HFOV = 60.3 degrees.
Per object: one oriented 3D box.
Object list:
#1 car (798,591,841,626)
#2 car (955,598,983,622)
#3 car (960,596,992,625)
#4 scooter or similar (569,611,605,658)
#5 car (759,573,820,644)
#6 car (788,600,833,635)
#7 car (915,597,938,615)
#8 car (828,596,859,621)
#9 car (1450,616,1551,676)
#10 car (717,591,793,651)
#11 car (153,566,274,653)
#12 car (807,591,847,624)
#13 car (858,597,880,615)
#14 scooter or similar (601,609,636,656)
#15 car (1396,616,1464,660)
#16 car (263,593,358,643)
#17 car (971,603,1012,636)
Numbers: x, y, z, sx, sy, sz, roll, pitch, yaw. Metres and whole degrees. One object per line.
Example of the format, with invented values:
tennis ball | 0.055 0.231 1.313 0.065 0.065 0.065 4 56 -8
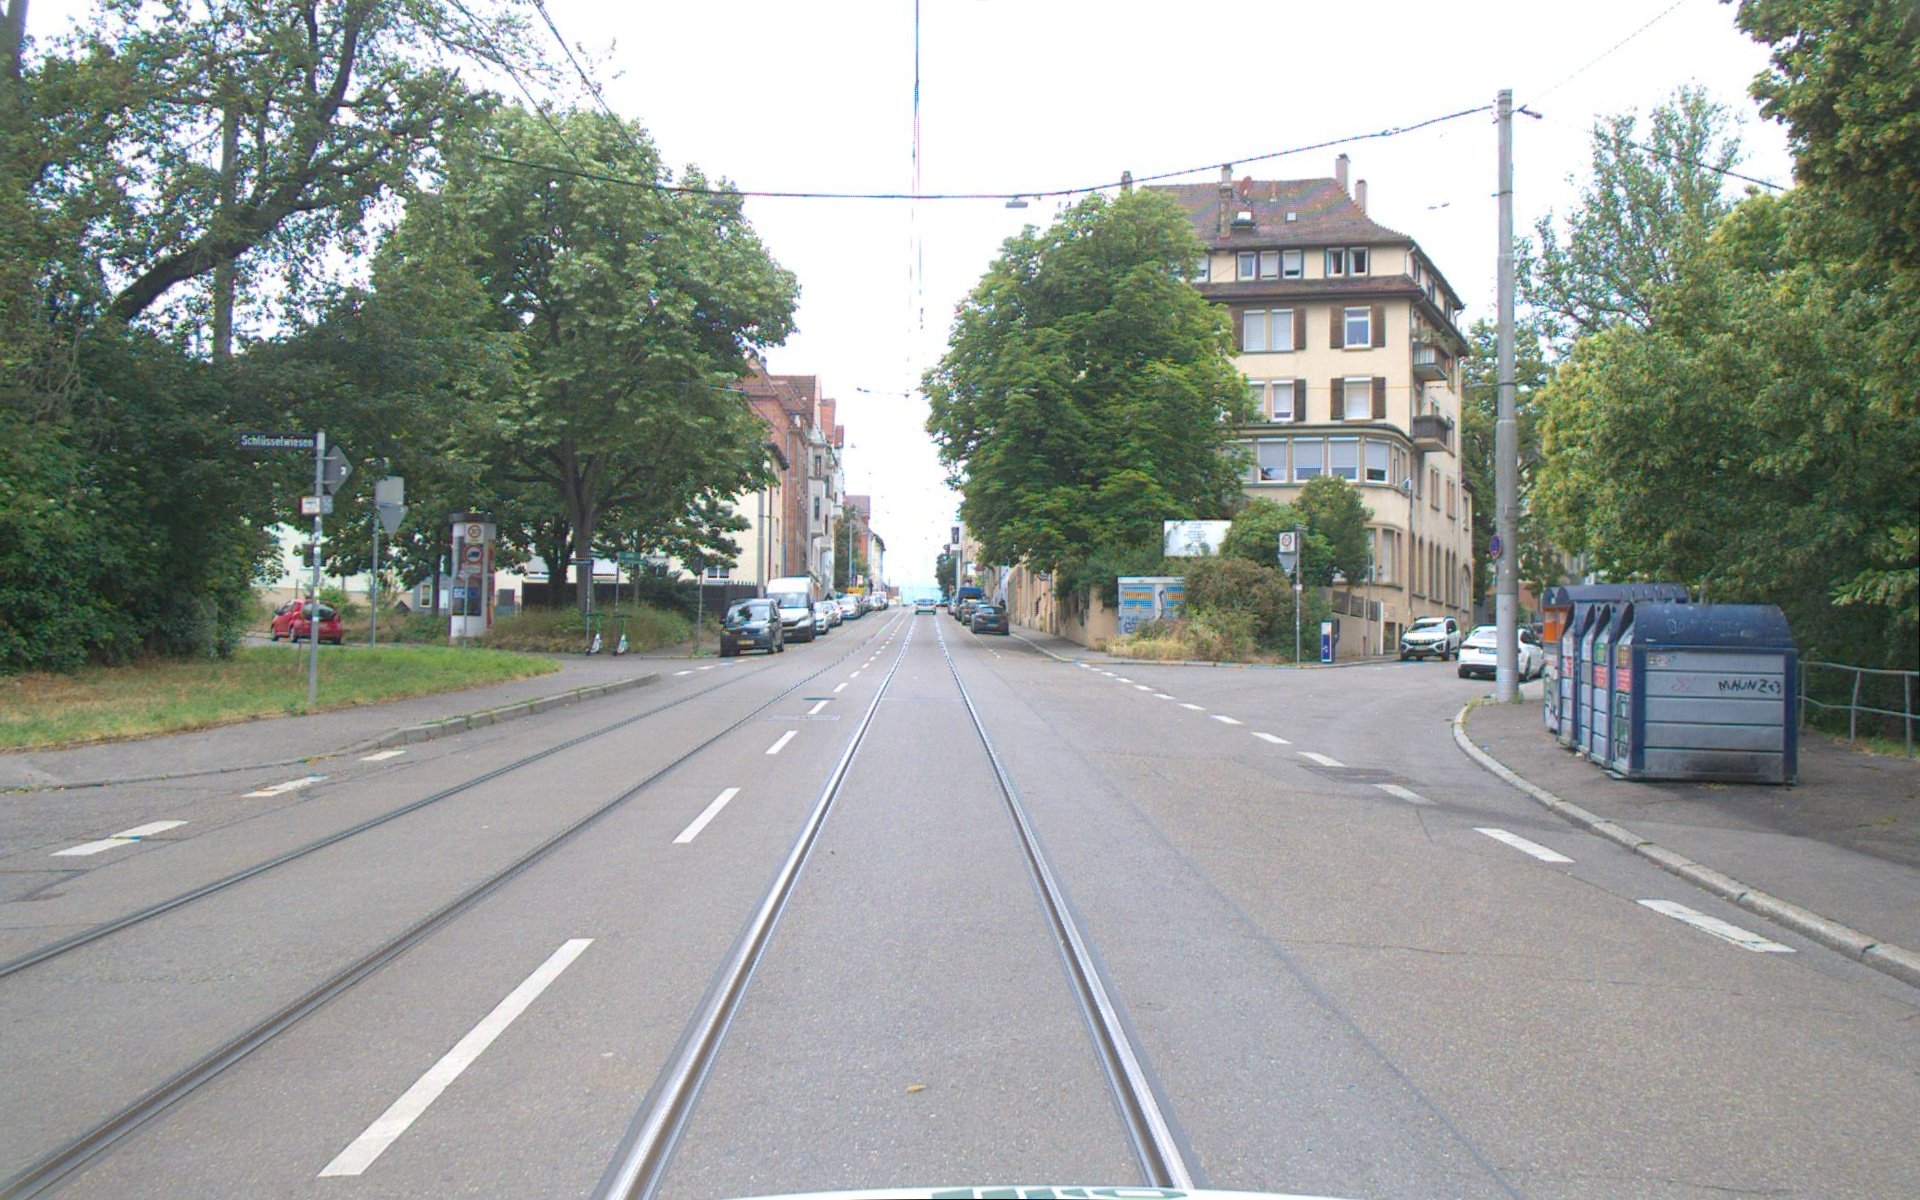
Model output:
car | -7.672 0.500 90.742 1.953 1.843 4.312 1 -1 0
car | 0.613 0.712 116.973 1.953 1.680 3.999 0 -1 -1
car | 1.012 0.682 104.939 1.953 1.747 3.999 0 -1 -1
scooter or similar | -11.139 1.015 49.415 0.677 1.362 1.638 1 -1 0
car | -7.079 0.365 69.078 2.186 2.813 5.795 1 -1 -3
car | -7.140 0.843 79.388 1.954 1.628 4.309 1 -1 -3
car | -2.949 0.537 144.455 1.953 1.525 4.310 1 -1 -2
car | -7.918 0.600 112.894 1.885 1.629 3.999 1 -1 -1
car | 14.828 1.242 45.258 1.955 1.505 4.458 1 -1 27
car | -6.712 0.694 54.591 1.953 1.840 4.000 1 -1 0
car | -15.692 0.197 34.682 1.972 1.691 3.961 2 -1 -29
car | -7.720 0.472 96.394 1.953 1.843 4.312 1 -1 0
car | -8.376 0.559 152.414 1.953 1.629 3.998 1 -1 -2
scooter or similar | -10.203 0.969 49.404 0.677 1.362 1.638 1 -1 0
car | 17.938 1.443 62.992 1.953 1.579 3.998 1 -1 24
car | -22.326 0.615 56.767 1.979 1.624 3.946 2 -1 -38
car | 1.577 0.979 83.513 1.953 1.557 4.311 1 -1 0
